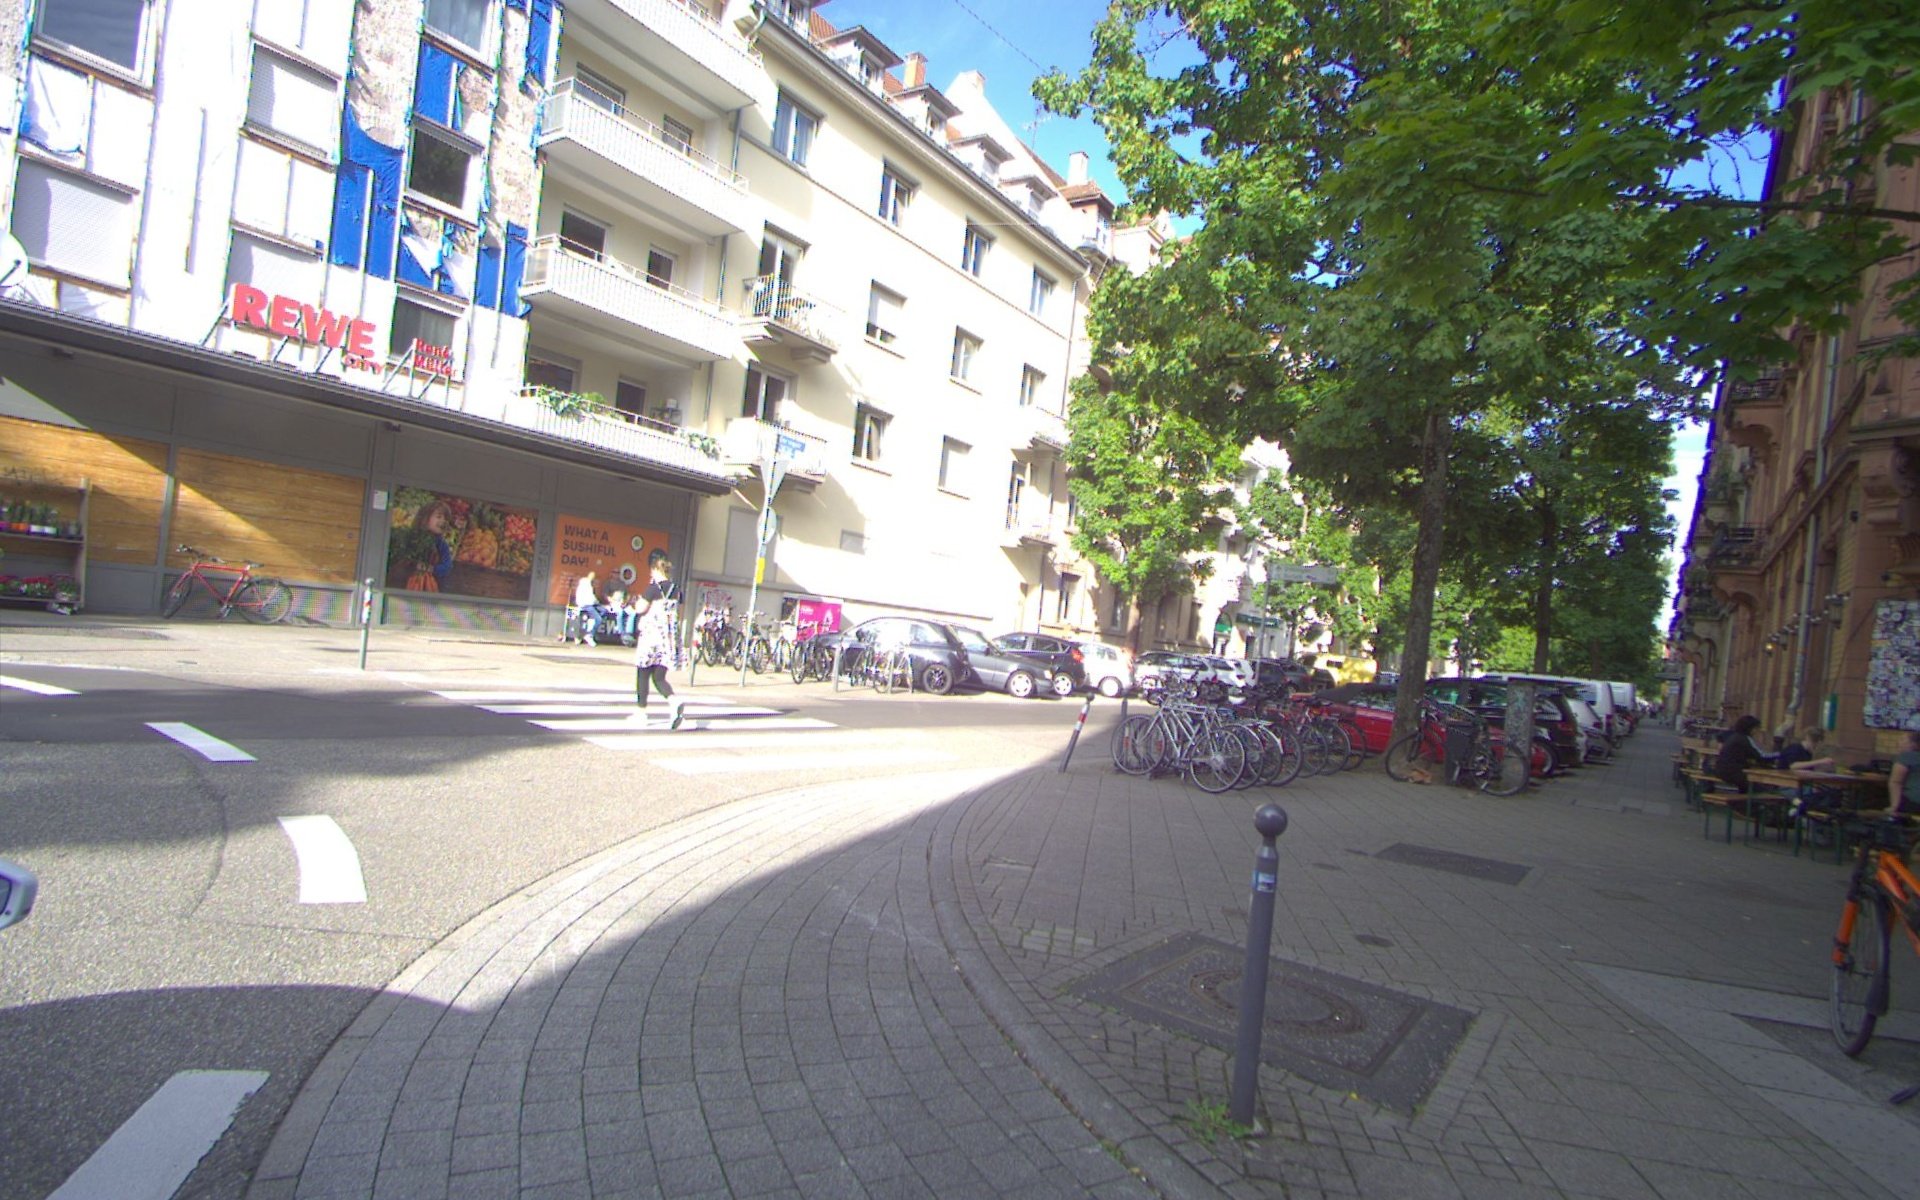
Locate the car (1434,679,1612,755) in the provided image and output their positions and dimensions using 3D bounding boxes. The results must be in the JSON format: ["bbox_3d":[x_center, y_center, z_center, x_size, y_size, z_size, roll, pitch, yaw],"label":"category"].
[{"bbox_3d":[14.103,2.893,25.290,3.655,1.475,1.663,2,-2,38],"label":"car"}]

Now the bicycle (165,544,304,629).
[{"bbox_3d":[-10.716,-0.181,14.883,1.526,1.045,0.575,8,1,-45],"label":"bicycle"}]

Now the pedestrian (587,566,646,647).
[{"bbox_3d":[-6.966,0.140,20.398,0.741,1.524,0.666,6,0,32],"label":"pedestrian"}]

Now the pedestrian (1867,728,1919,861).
[{"bbox_3d":[9.835,2.007,10.378,0.633,1.275,0.509,4,0,43],"label":"pedestrian"}]

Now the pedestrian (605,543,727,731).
[{"bbox_3d":[-3.001,0.374,10.306,0.826,1.775,0.614,7,0,10],"label":"pedestrian"}]

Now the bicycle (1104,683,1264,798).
[{"bbox_3d":[2.382,1.479,10.873,0.445,0.981,1.693,5,-1,-41],"label":"bicycle"}]

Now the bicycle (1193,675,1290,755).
[{"bbox_3d":[4.401,1.756,15.602,0.573,1.108,2.492,2,-3,36],"label":"bicycle"}]

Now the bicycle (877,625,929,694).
[{"bbox_3d":[-1.064,1.111,19.088,0.405,1.190,1.855,7,0,11],"label":"bicycle"}]

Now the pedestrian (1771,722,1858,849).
[{"bbox_3d":[9.326,1.999,10.976,0.633,1.240,0.509,4,0,43],"label":"pedestrian"}]

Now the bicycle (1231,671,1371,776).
[{"bbox_3d":[4.655,1.660,13.787,1.683,1.216,0.447,4,0,28],"label":"bicycle"}]

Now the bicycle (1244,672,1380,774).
[{"bbox_3d":[4.958,1.710,14.239,1.688,1.216,0.446,4,-1,40],"label":"bicycle"}]

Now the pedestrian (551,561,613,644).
[{"bbox_3d":[-7.433,0.053,19.788,0.657,1.524,0.752,6,0,30],"label":"pedestrian"}]

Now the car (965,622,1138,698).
[{"bbox_3d":[2.591,1.659,28.336,4.542,1.451,1.752,8,-1,8],"label":"car"}]

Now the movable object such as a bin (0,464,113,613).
[{"bbox_3d":[-12.113,-0.815,12.969,0.679,1.776,1.546,9,1,33],"label":"movable object such as a bin"}]

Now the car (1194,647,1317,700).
[{"bbox_3d":[12.235,3.046,41.899,4.542,1.513,1.752,8,-1,8],"label":"car"}]

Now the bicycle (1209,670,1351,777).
[{"bbox_3d":[4.272,1.627,13.481,1.683,1.216,0.447,4,0,28],"label":"bicycle"}]

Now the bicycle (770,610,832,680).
[{"bbox_3d":[-2.948,0.841,18.837,0.405,1.190,1.855,7,0,11],"label":"bicycle"}]

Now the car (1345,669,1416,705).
[{"bbox_3d":[26.244,5.444,62.930,3.777,1.658,1.736,7,-1,18],"label":"car"}]

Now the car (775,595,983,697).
[{"bbox_3d":[-1.656,0.927,21.300,3.924,1.473,1.811,9,1,9],"label":"car"}]

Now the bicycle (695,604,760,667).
[{"bbox_3d":[-4.422,0.672,19.251,0.413,1.100,1.699,7,1,12],"label":"bicycle"}]

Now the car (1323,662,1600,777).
[{"bbox_3d":[9.402,2.179,19.044,4.256,1.588,1.997,3,-3,42],"label":"car"}]

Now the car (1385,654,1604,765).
[{"bbox_3d":[11.094,2.236,20.949,3.653,1.741,1.855,5,-2,38],"label":"car"}]

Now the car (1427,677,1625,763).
[{"bbox_3d":[12.782,2.680,22.786,3.654,1.474,1.665,3,-4,38],"label":"car"}]

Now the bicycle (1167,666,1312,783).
[{"bbox_3d":[3.451,1.516,12.541,0.445,1.216,1.693,5,-1,-41],"label":"bicycle"}]

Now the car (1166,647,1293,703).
[{"bbox_3d":[10.606,2.945,39.856,4.542,1.513,1.752,8,-1,8],"label":"car"}]

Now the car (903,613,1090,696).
[{"bbox_3d":[0.923,1.390,25.983,4.544,1.451,1.751,8,-1,1],"label":"car"}]

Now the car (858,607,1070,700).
[{"bbox_3d":[0.102,1.223,23.467,4.580,1.472,1.957,8,-1,1],"label":"car"}]

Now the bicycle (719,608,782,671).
[{"bbox_3d":[-3.947,0.739,19.074,0.413,1.100,1.699,7,1,12],"label":"bicycle"}]

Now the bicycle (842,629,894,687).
[{"bbox_3d":[-1.745,1.105,19.280,0.483,1.013,1.424,7,0,11],"label":"bicycle"}]

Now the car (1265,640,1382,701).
[{"bbox_3d":[17.542,3.387,48.745,4.720,2.247,2.149,8,-1,4],"label":"car"}]

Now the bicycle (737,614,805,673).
[{"bbox_3d":[-3.559,0.847,19.077,0.406,1.031,1.502,7,0,22],"label":"bicycle"}]

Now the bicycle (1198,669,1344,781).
[{"bbox_3d":[4.008,1.586,12.991,1.681,1.216,0.448,4,0,22],"label":"bicycle"}]

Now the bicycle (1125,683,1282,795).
[{"bbox_3d":[2.677,1.512,11.217,0.445,0.999,1.693,5,-1,-41],"label":"bicycle"}]

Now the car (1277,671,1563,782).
[{"bbox_3d":[7.544,2.029,16.635,4.048,1.284,1.565,4,-4,34],"label":"car"}]

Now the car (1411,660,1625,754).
[{"bbox_3d":[15.086,2.817,27.321,4.834,2.013,2.042,3,-2,33],"label":"car"}]

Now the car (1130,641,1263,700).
[{"bbox_3d":[8.735,2.606,37.545,4.542,1.513,1.752,8,-1,8],"label":"car"}]

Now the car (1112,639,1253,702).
[{"bbox_3d":[7.722,2.427,35.220,4.542,1.513,1.752,8,-1,8],"label":"car"}]

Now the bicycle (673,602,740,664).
[{"bbox_3d":[-4.833,0.620,19.278,0.413,1.100,1.699,7,1,12],"label":"bicycle"}]

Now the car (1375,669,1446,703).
[{"bbox_3d":[29.586,5.612,66.098,3.776,1.658,1.737,8,-1,10],"label":"car"}]

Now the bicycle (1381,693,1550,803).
[{"bbox_3d":[6.425,1.842,12.849,1.775,1.127,0.597,4,-1,40],"label":"bicycle"}]

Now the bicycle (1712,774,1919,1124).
[{"bbox_3d":[3.785,1.352,3.784,0.670,1.048,1.858,6,0,10],"label":"bicycle"}]

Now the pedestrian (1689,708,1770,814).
[{"bbox_3d":[10.401,2.157,13.614,0.757,1.300,0.628,4,-2,34],"label":"pedestrian"}]

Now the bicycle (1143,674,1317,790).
[{"bbox_3d":[3.167,1.526,11.990,0.445,1.102,2.023,5,-1,-41],"label":"bicycle"}]

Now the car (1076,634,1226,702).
[{"bbox_3d":[6.150,2.178,32.809,4.542,1.513,1.752,8,-1,8],"label":"car"}]

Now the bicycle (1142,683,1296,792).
[{"bbox_3d":[2.939,1.546,11.569,0.445,0.999,1.693,5,-1,-41],"label":"bicycle"}]

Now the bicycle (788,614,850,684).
[{"bbox_3d":[-2.572,0.894,18.520,0.405,1.190,1.855,7,0,11],"label":"bicycle"}]

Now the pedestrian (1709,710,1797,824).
[{"bbox_3d":[10.052,2.094,12.778,0.757,1.300,0.628,4,-2,34],"label":"pedestrian"}]
